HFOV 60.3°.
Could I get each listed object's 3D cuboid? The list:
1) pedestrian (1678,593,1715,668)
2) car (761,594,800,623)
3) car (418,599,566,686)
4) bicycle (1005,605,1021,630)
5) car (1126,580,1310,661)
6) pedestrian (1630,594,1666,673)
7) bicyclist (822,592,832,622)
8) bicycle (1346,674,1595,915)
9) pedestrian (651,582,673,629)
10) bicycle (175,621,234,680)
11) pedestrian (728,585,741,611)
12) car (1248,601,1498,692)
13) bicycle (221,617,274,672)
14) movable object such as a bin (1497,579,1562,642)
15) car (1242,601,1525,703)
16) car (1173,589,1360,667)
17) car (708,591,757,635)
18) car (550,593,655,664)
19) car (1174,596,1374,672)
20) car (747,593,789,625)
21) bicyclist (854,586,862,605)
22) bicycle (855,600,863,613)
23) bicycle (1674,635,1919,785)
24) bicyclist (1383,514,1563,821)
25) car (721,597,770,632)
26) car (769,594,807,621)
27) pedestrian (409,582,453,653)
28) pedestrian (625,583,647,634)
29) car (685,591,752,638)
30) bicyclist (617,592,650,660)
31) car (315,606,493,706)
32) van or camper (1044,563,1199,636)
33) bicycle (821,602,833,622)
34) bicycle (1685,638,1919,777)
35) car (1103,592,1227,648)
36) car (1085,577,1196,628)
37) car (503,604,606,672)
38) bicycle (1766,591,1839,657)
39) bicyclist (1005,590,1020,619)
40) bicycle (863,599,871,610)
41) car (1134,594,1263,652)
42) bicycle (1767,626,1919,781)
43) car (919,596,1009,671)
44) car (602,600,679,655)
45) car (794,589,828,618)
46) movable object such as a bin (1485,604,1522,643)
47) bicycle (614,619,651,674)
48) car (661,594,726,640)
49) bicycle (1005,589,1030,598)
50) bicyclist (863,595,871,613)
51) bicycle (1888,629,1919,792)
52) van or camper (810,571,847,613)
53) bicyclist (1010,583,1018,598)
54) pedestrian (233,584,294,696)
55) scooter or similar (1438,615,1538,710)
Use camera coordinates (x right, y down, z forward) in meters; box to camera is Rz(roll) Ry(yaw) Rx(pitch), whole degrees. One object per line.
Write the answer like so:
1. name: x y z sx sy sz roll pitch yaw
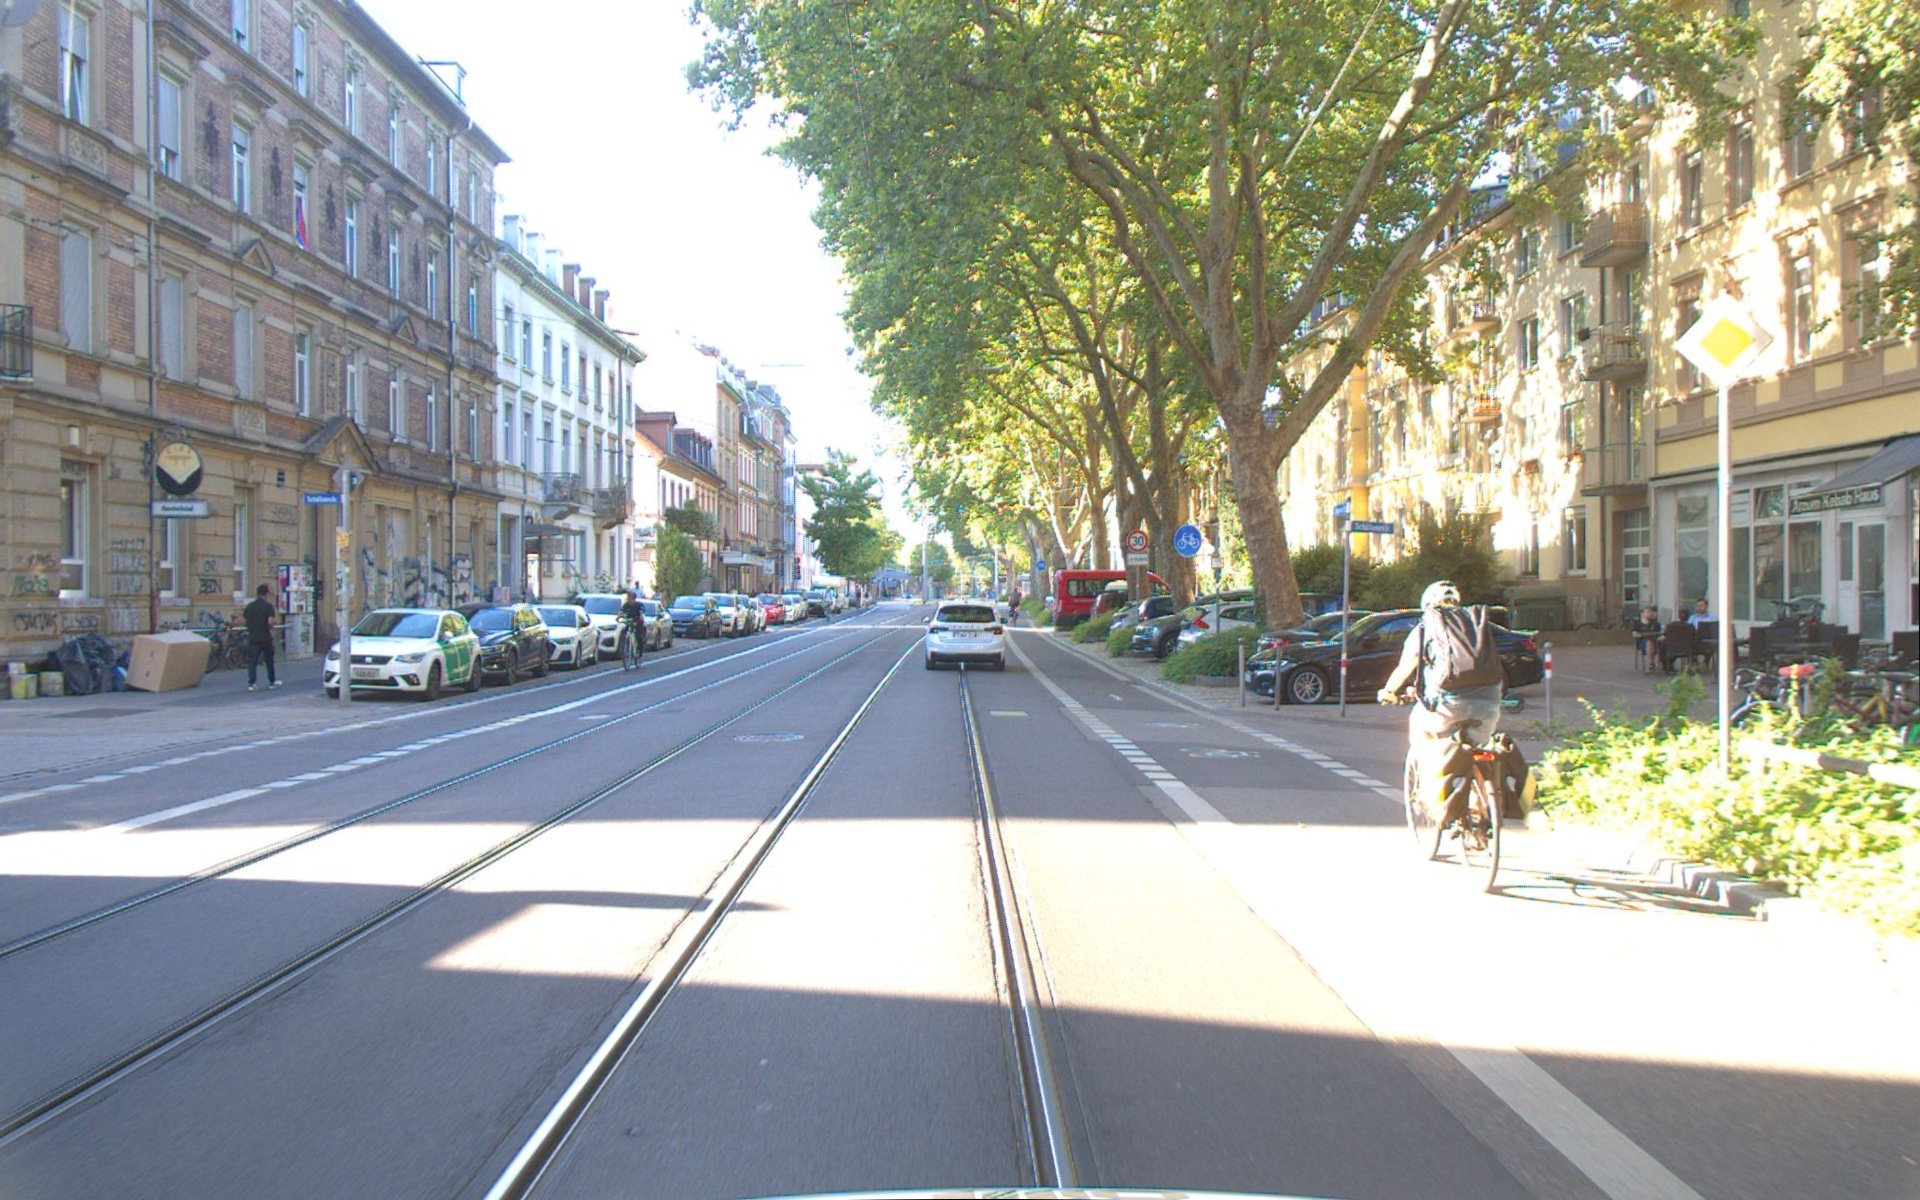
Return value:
1. pedestrian: 13.398 0.549 30.068 0.477 1.351 0.684 0 0 36
2. car: -9.794 0.444 90.645 1.790 1.529 4.686 1 0 -2
3. car: -9.324 0.801 33.317 1.705 1.589 4.785 1 0 -1
4. bicycle: 2.529 0.827 79.812 0.666 1.175 2.964 1 0 0
5. car: 6.382 0.490 41.171 4.177 1.748 1.848 -3 0 -3
6. pedestrian: 12.540 0.600 30.127 0.476 1.399 1.054 0 0 30
7. bicyclist: -7.463 0.374 92.867 0.463 1.664 0.800 -1 0 1
8. bicycle: 2.769 1.001 9.280 0.583 1.022 2.511 2 0 0
9. pedestrian: -11.979 0.222 66.441 0.744 1.853 0.829 0 0 -3
10. bicycle: -14.361 0.945 31.465 0.365 1.052 1.847 0 0 -3
11. pedestrian: -14.815 -0.121 108.489 0.759 1.662 0.654 1 0 -16
12. car: 7.119 0.790 28.806 4.010 1.517 1.682 0 0 4
13. bicycle: -14.387 0.887 33.431 0.365 1.052 1.847 0 0 -3
14. movable object such as a bin: 13.769 0.244 40.005 1.143 1.462 1.117 -2 0 0
15. car: 6.654 0.801 26.268 4.014 1.517 1.830 0 0 -3
16. car: 7.033 0.635 38.143 3.947 1.672 1.681 -1 0 -2
17. car: -9.531 0.519 69.522 1.820 1.733 4.654 -1 0 -5
18. car: -9.406 0.714 43.878 1.750 1.753 4.718 1 0 0
19. car: 6.724 0.720 35.623 3.946 1.506 1.681 -1 0 -2
20. car: -9.838 0.470 85.108 1.536 1.590 3.450 -1 0 4
21. bicyclist: -8.820 -0.384 143.366 0.524 1.663 0.897 -2 0 2
22. bicycle: -8.763 0.538 143.352 0.474 1.065 2.040 -2 0 2
23. bicycle: 6.993 0.890 13.629 1.998 1.199 0.413 0 -1 8
24. bicyclist: 2.828 0.354 9.202 0.602 1.579 0.935 4 0 0
25. car: -9.680 0.621 75.030 1.652 1.502 4.257 1 0 0
26. car: -9.940 0.424 95.878 1.790 1.529 4.449 1 0 -1
27. pedestrian: -12.905 0.417 40.325 0.650 1.694 0.767 1 0 31
28. pedestrian: -13.006 0.326 66.485 0.744 2.049 0.829 0 0 -2
29. car: -9.302 0.529 63.958 1.818 1.733 4.763 -1 0 1
30. bicyclist: -7.385 0.588 37.409 0.570 1.508 0.807 -1 0 -1
31. car: -9.300 0.891 27.979 1.705 1.518 4.044 1 0 -1
32. van or camper: 6.282 -0.035 64.831 5.698 2.562 2.287 -2 1 -2
33. bicycle: -7.466 0.672 92.745 0.471 1.105 1.846 -1 0 1
34. bicycle: 7.583 0.942 14.754 1.998 1.199 0.413 0 -1 8
35. car: 6.231 0.593 50.473 3.522 1.544 1.693 -2 0 0
36. car: 6.554 0.094 60.217 3.742 1.678 1.766 -2 -1 -3
37. car: -9.375 0.848 38.500 1.666 1.445 3.996 1 0 -4
38. bicycle: 15.966 0.436 31.386 0.460 1.176 1.746 -2 1 0
39. bicyclist: 2.531 0.228 80.007 0.665 1.362 0.525 1 0 0
40. bicycle: -8.456 0.436 150.198 0.488 0.959 1.922 -2 0 2
41. car: 6.898 0.664 48.026 3.521 1.627 1.541 -1 -1 0
42. bicycle: 7.510 0.812 13.073 1.998 1.199 0.413 0 -1 8
43. car: 0.034 0.684 35.764 1.805 1.506 3.836 1 0 -2
44. car: -9.491 0.792 49.404 1.629 1.547 4.062 1 0 -2
45. car: -10.055 0.201 111.945 1.925 1.812 4.936 2 0 -2
46. movable object such as a bin: 13.733 0.593 41.801 0.732 0.959 0.465 -2 0 0
47. bicycle: -7.401 1.032 37.446 0.412 1.170 2.231 -1 0 -1
48. car: -9.478 0.588 59.003 1.521 1.542 3.925 -1 0 2
49. bicycle: 6.329 -0.735 183.384 2.711 1.017 0.593 1 0 15
50. bicyclist: -8.450 0.365 150.228 0.625 1.529 1.070 -1 0 1
51. bicycle: 7.966 0.821 12.103 2.000 1.199 0.413 0 -1 21
52. van or camper: -10.403 -0.627 131.096 2.170 3.195 7.115 1 0 2
53. bicyclist: 5.991 -1.048 183.489 0.721 1.617 0.587 -1 0 12
54. pedestrian: -11.639 0.653 27.647 0.671 1.832 1.055 1 0 -9
55. scooter or similar: 7.221 0.843 22.656 1.279 1.278 0.341 0 0 13
